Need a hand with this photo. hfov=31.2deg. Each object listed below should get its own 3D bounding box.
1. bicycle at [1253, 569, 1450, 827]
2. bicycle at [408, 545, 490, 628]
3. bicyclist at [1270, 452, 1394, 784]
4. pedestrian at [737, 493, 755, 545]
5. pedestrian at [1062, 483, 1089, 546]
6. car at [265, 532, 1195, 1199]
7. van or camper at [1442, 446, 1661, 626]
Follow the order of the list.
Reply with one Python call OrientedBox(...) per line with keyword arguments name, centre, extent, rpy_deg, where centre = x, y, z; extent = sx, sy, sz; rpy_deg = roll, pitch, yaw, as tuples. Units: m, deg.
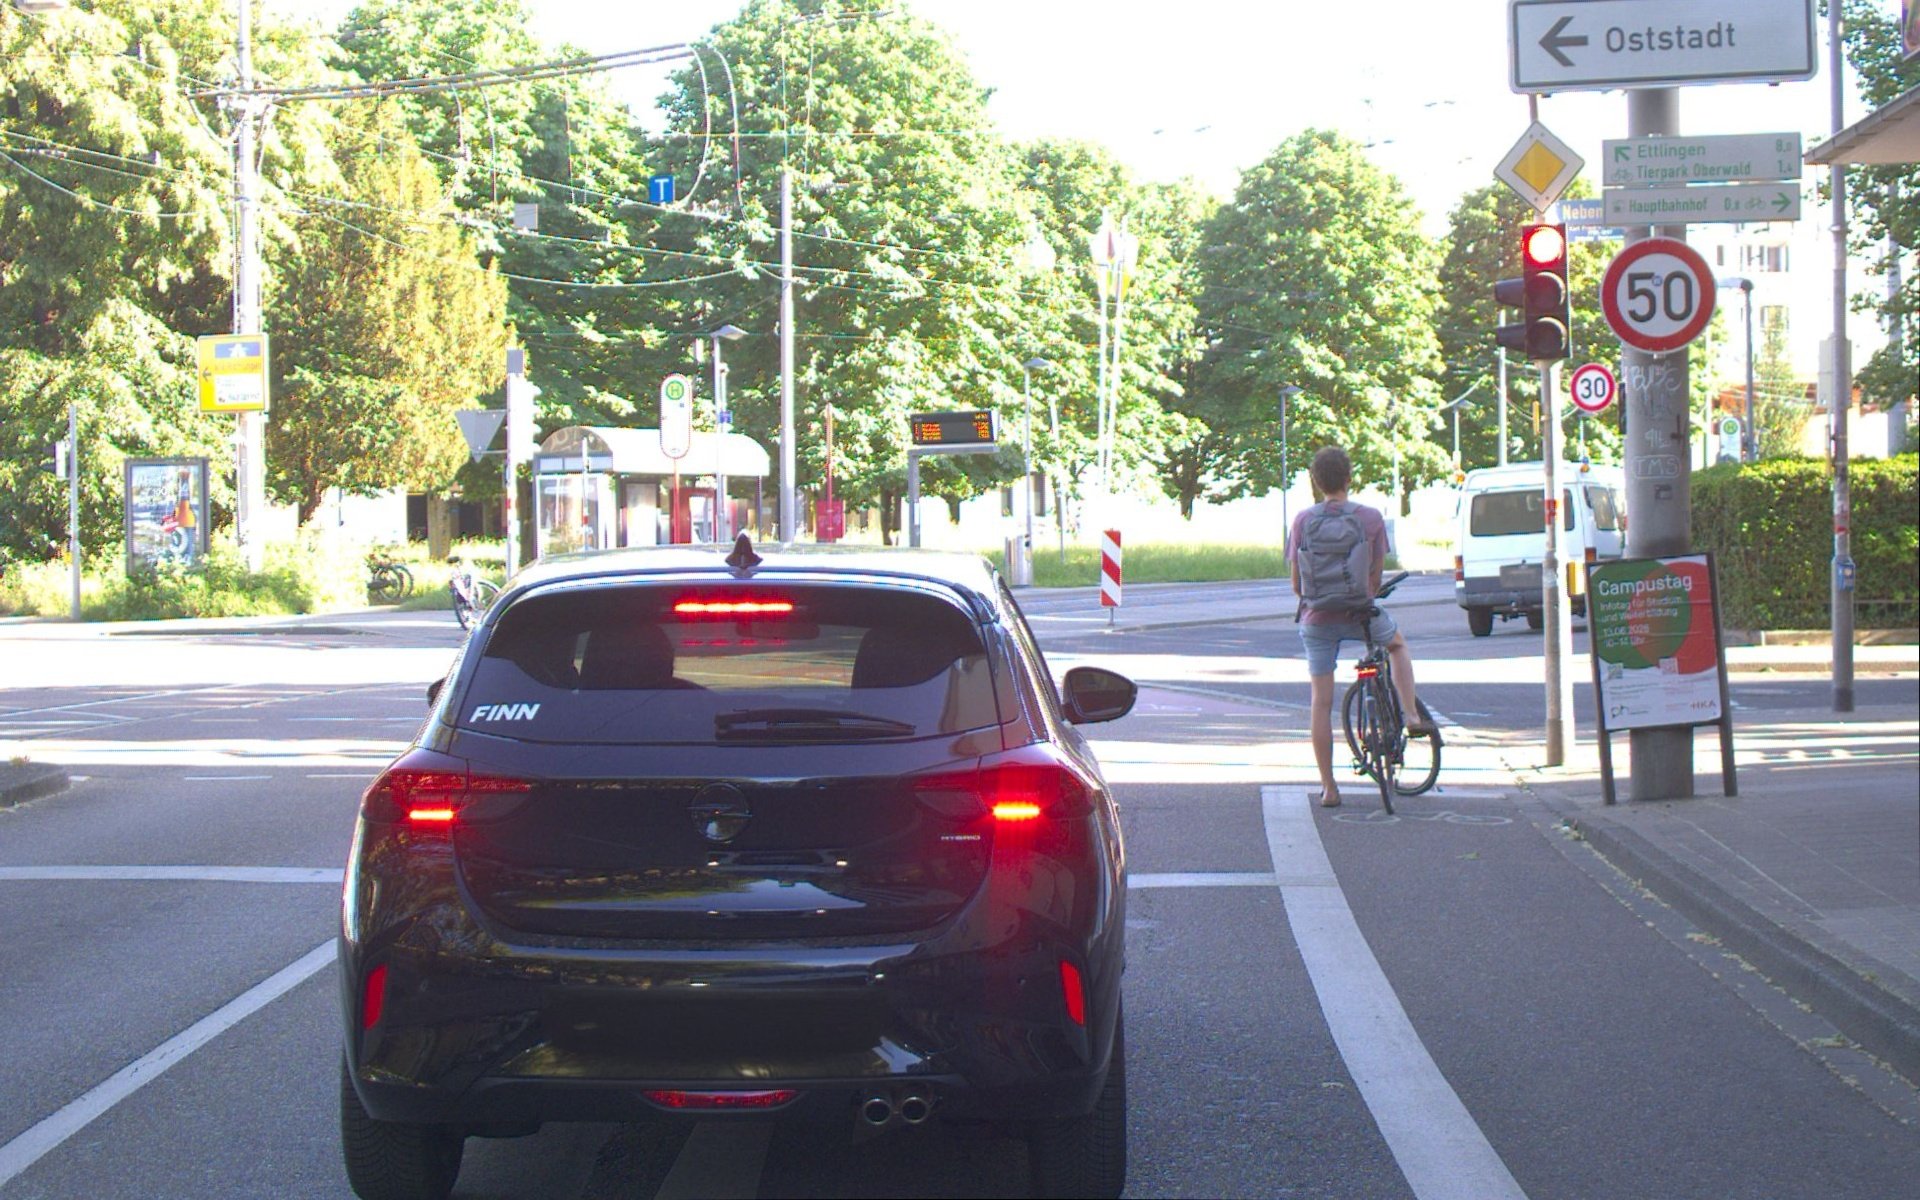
OrientedBox(name="bicycle", centre=(2.068, 0.470, 17.921), extent=(0.753, 1.231, 2.014), rpy_deg=(0, 1, 14))
OrientedBox(name="bicycle", centre=(-6.830, -0.196, 46.040), extent=(0.796, 1.061, 2.185), rpy_deg=(0, 1, -1))
OrientedBox(name="bicyclist", centre=(1.927, 0.086, 17.781), extent=(0.534, 1.686, 0.567), rpy_deg=(0, 1, 17))
OrientedBox(name="pedestrian", centre=(-7.734, -2.916, 124.055), extent=(0.603, 1.865, 0.519), rpy_deg=(1, 0, -6))
OrientedBox(name="pedestrian", centre=(3.439, -2.547, 102.349), extent=(0.603, 1.865, 0.519), rpy_deg=(1, 0, -33))
OrientedBox(name="car", centre=(-0.479, 0.565, 8.818), extent=(1.840, 1.457, 3.984), rpy_deg=(0, 1, -1))
OrientedBox(name="van or camper", centre=(8.020, -0.841, 46.267), extent=(2.031, 2.302, 4.535), rpy_deg=(1, 1, 21))
